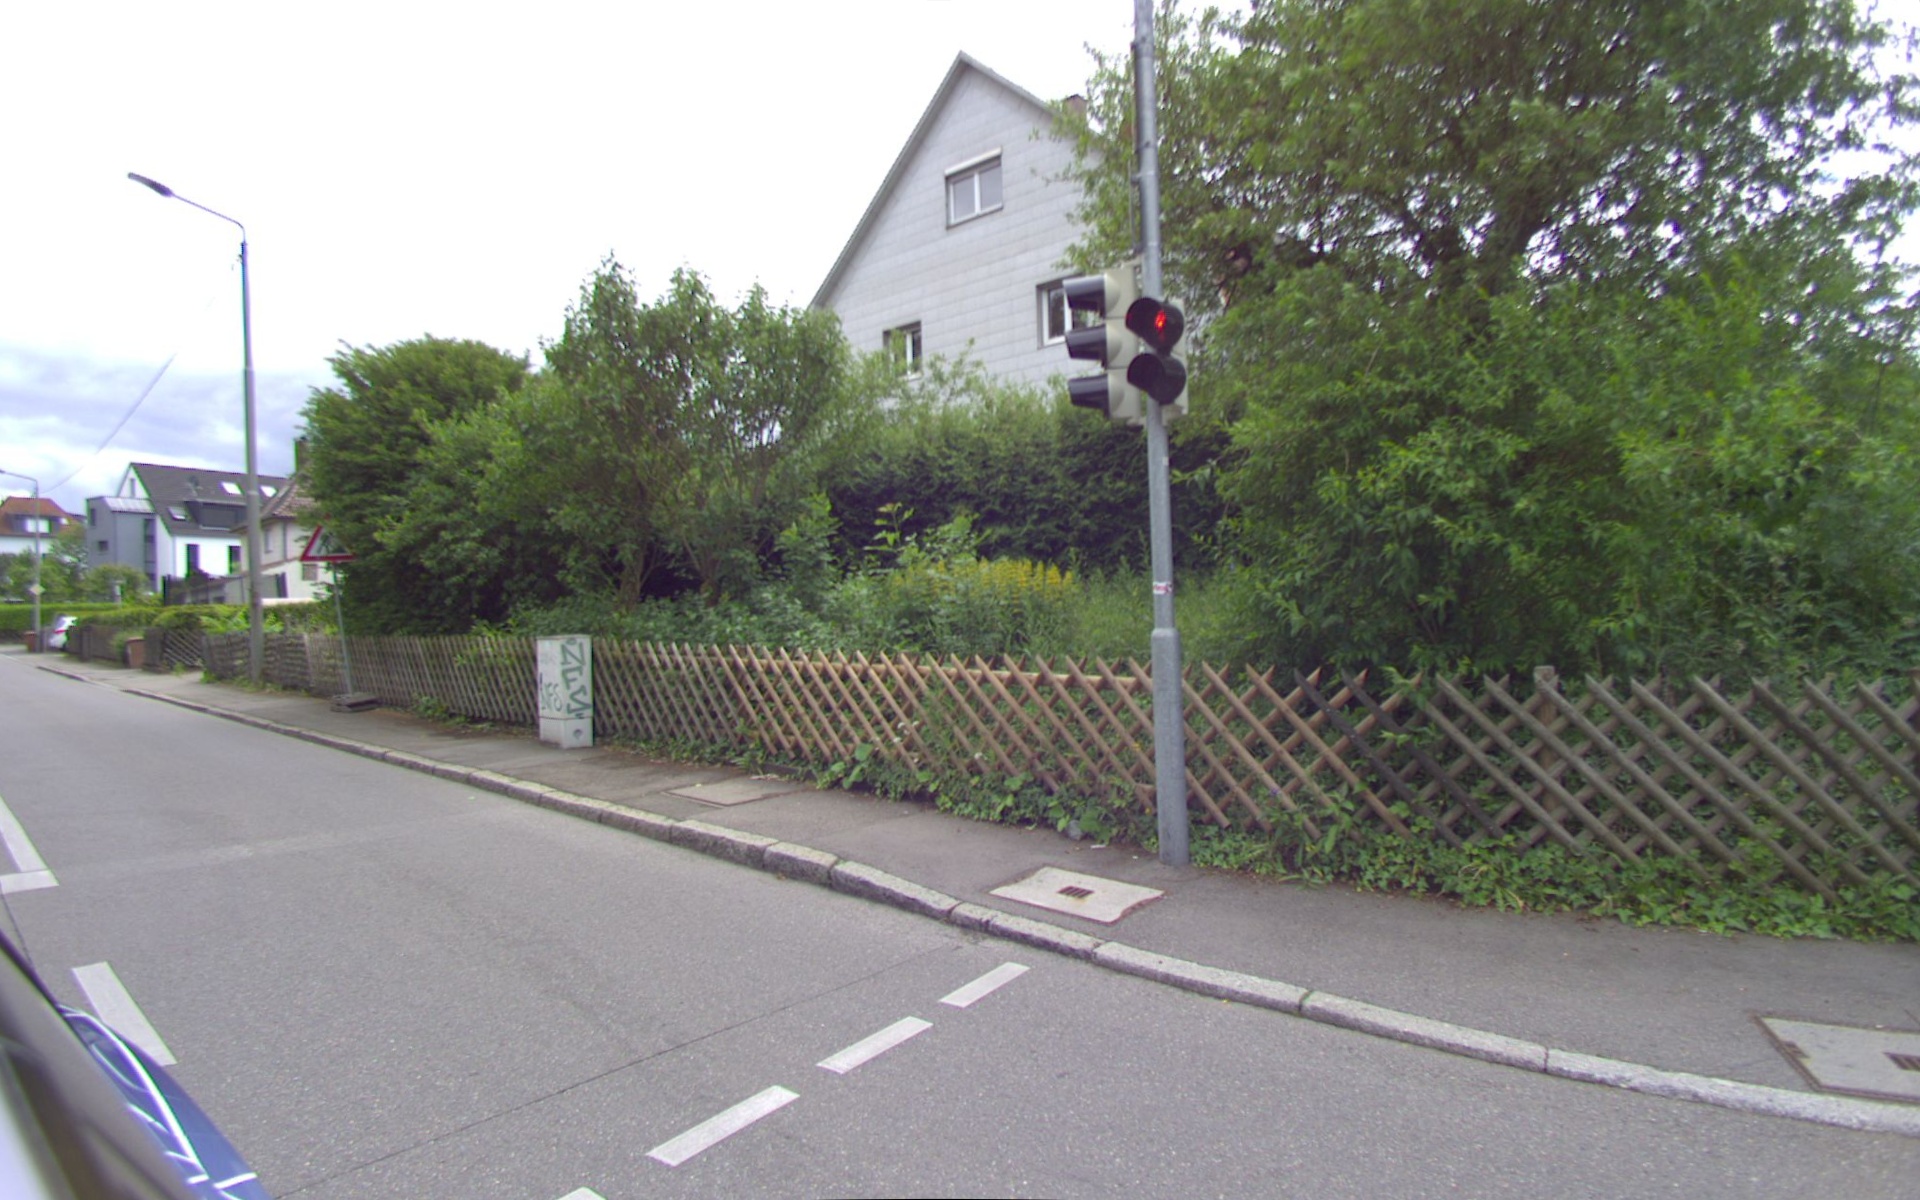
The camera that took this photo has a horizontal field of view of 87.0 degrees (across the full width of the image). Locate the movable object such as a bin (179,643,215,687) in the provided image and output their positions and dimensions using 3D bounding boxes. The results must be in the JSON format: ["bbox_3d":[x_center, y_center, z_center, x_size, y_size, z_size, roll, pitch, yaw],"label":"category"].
[{"bbox_3d":[-16.913,1.431,22.435,0.538,0.945,0.544,-2,-1,44],"label":"movable object such as a bin"}]

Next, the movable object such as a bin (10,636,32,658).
[{"bbox_3d":[-42.565,2.107,45.877,0.571,0.961,0.681,-2,-1,41],"label":"movable object such as a bin"}]

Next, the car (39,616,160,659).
[{"bbox_3d":[-38.831,1.677,45.718,1.718,1.605,3.945,-2,2,42],"label":"car"}]

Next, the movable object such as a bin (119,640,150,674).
[{"bbox_3d":[-23.870,1.637,29.271,0.625,0.920,0.561,-3,0,-37],"label":"movable object such as a bin"}]
